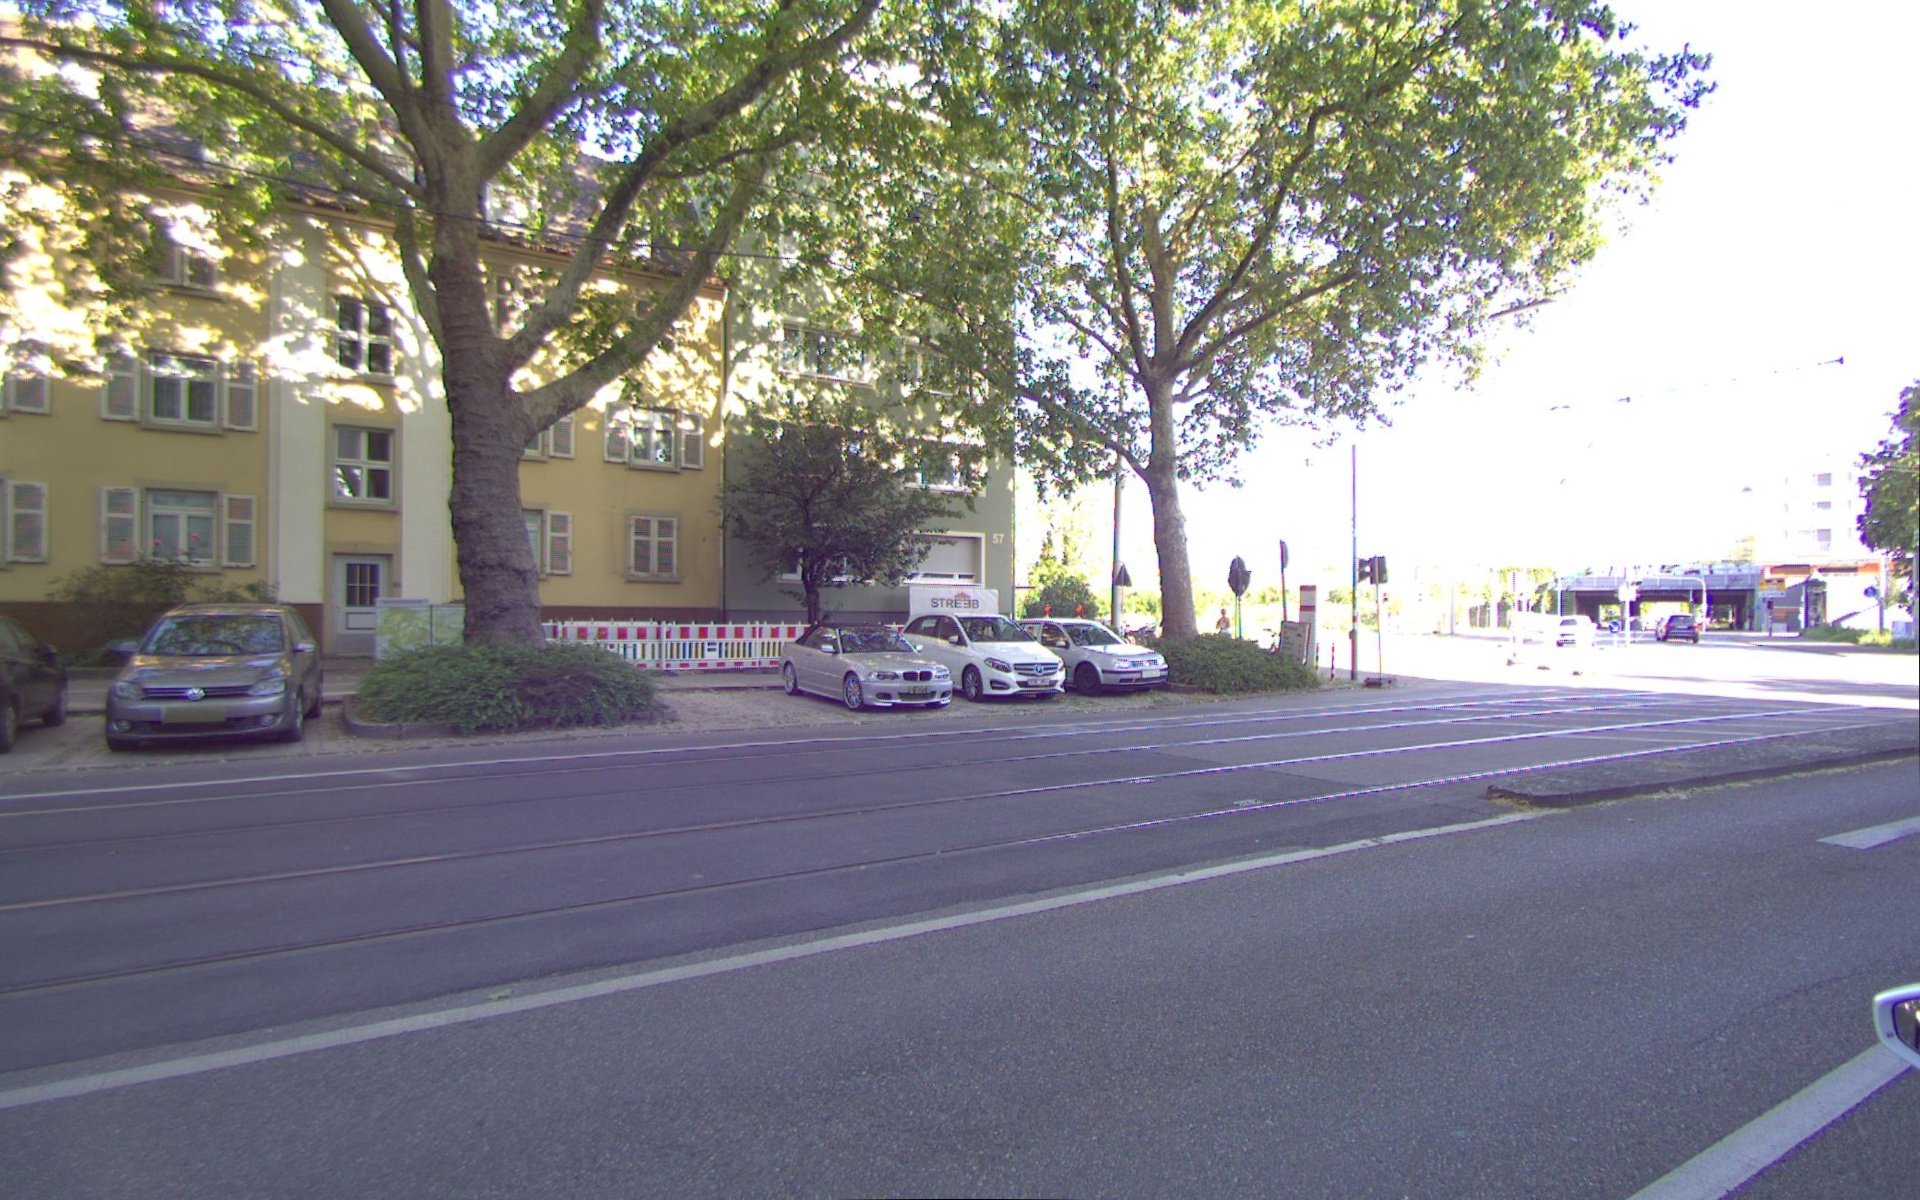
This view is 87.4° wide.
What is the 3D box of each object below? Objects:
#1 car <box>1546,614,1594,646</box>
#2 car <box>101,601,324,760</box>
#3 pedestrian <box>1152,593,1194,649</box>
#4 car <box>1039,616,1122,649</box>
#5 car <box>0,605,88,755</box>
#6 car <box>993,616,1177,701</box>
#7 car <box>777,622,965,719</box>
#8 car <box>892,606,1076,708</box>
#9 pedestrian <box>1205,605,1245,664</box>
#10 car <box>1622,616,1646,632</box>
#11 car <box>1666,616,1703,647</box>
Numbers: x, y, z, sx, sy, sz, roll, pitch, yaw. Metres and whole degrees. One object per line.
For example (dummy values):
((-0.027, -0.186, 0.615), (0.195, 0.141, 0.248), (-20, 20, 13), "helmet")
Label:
((33.558, 1.633, 55.232), (1.860, 1.606, 3.823), (2, 0, 37), "car")
((-9.001, 0.834, 12.412), (1.652, 1.602, 3.953), (1, 0, -29), "car")
((6.548, 0.645, 30.915), (0.919, 1.669, 0.841), (2, 0, -30), "pedestrian")
((6.785, 1.826, 56.613), (4.282, 1.788, 1.985), (0, -1, 29), "car")
((-11.467, 0.835, 11.380), (1.652, 1.518, 3.778), (1, 0, -29), "car")
((2.439, 1.112, 20.524), (1.651, 1.473, 3.949), (1, 0, -31), "car")
((-1.652, 1.111, 17.304), (1.651, 1.370, 3.949), (1, 0, -31), "car")
((0.348, 0.985, 19.149), (1.651, 1.669, 3.949), (1, 0, -31), "car")
((7.782, 1.000, 29.468), (0.763, 1.683, 0.951), (2, 0, 40), "pedestrian")
((70.150, 2.510, 104.565), (1.860, 1.606, 3.823), (2, 0, 37), "car")
((47.010, 2.030, 65.207), (1.883, 1.906, 4.830), (0, -1, 35), "car")
